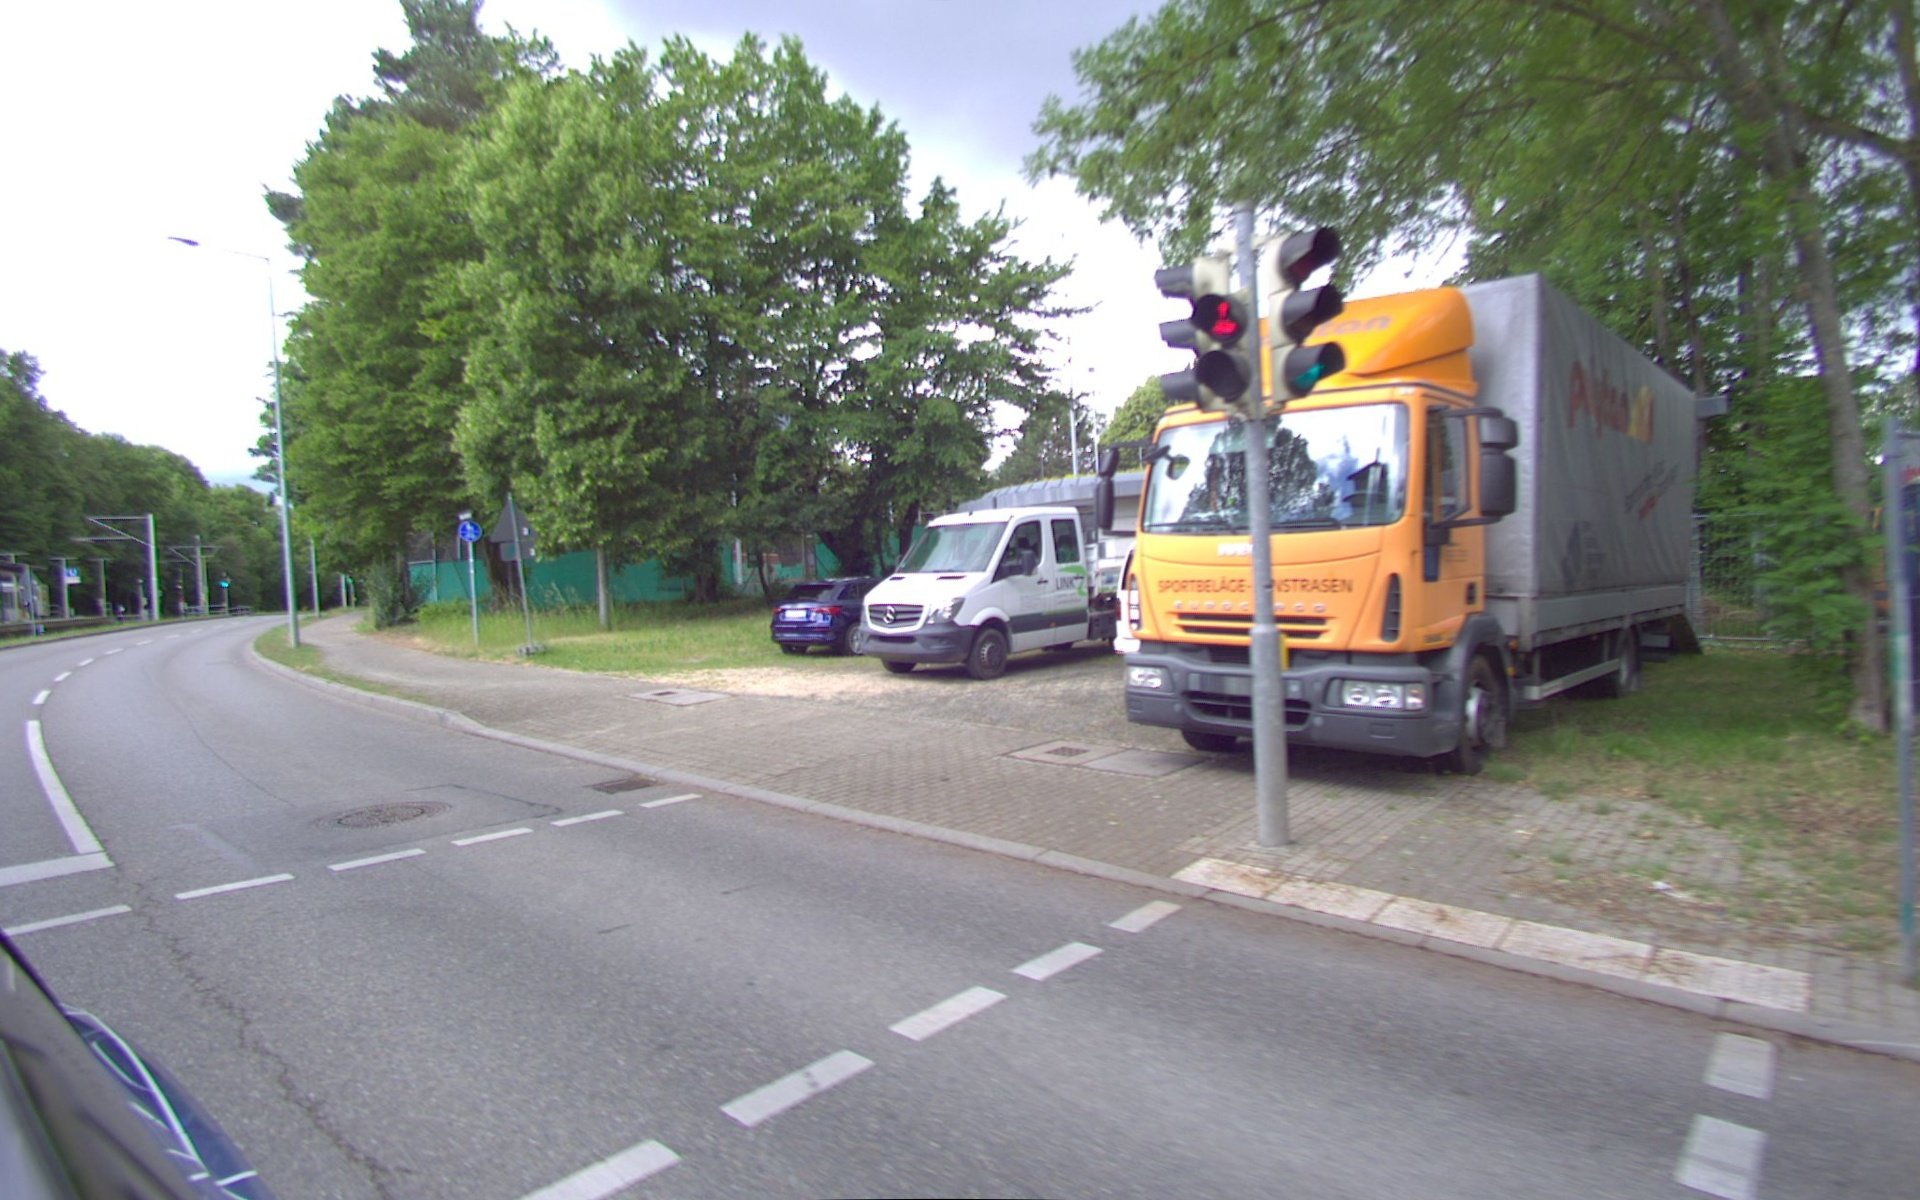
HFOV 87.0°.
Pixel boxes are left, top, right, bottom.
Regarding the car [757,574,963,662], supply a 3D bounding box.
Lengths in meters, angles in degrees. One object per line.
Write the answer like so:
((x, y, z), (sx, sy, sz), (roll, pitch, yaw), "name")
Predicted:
((-1.775, 0.242, 19.168), (1.714, 1.336, 3.953), (2, 4, 35), "car")

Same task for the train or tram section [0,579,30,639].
((-59.050, 0.657, 57.979), (2.774, 3.764, 18.593), (-4, 2, -25), "train or tram section")

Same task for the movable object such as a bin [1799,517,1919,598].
((31.638, -1.423, 35.053), (2.131, 2.610, 3.991), (-1, 1, 8), "movable object such as a bin")

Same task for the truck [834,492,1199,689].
((1.176, -0.333, 15.525), (2.123, 2.433, 6.321), (1, 4, 41), "truck")

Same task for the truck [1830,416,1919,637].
((15.486, -1.132, 14.951), (2.441, 3.223, 5.864), (-3, 0, 26), "truck")

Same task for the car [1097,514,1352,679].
((3.791, -0.153, 14.046), (1.781, 1.923, 3.946), (-1, 3, 41), "car")

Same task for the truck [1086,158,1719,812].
((5.017, -0.838, 9.717), (2.566, 3.557, 9.129), (0, 3, 44), "truck")

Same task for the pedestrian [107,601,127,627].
((-61.678, 1.033, 74.042), (0.971, 1.771, 0.731), (-5, 1, -35), "pedestrian")
